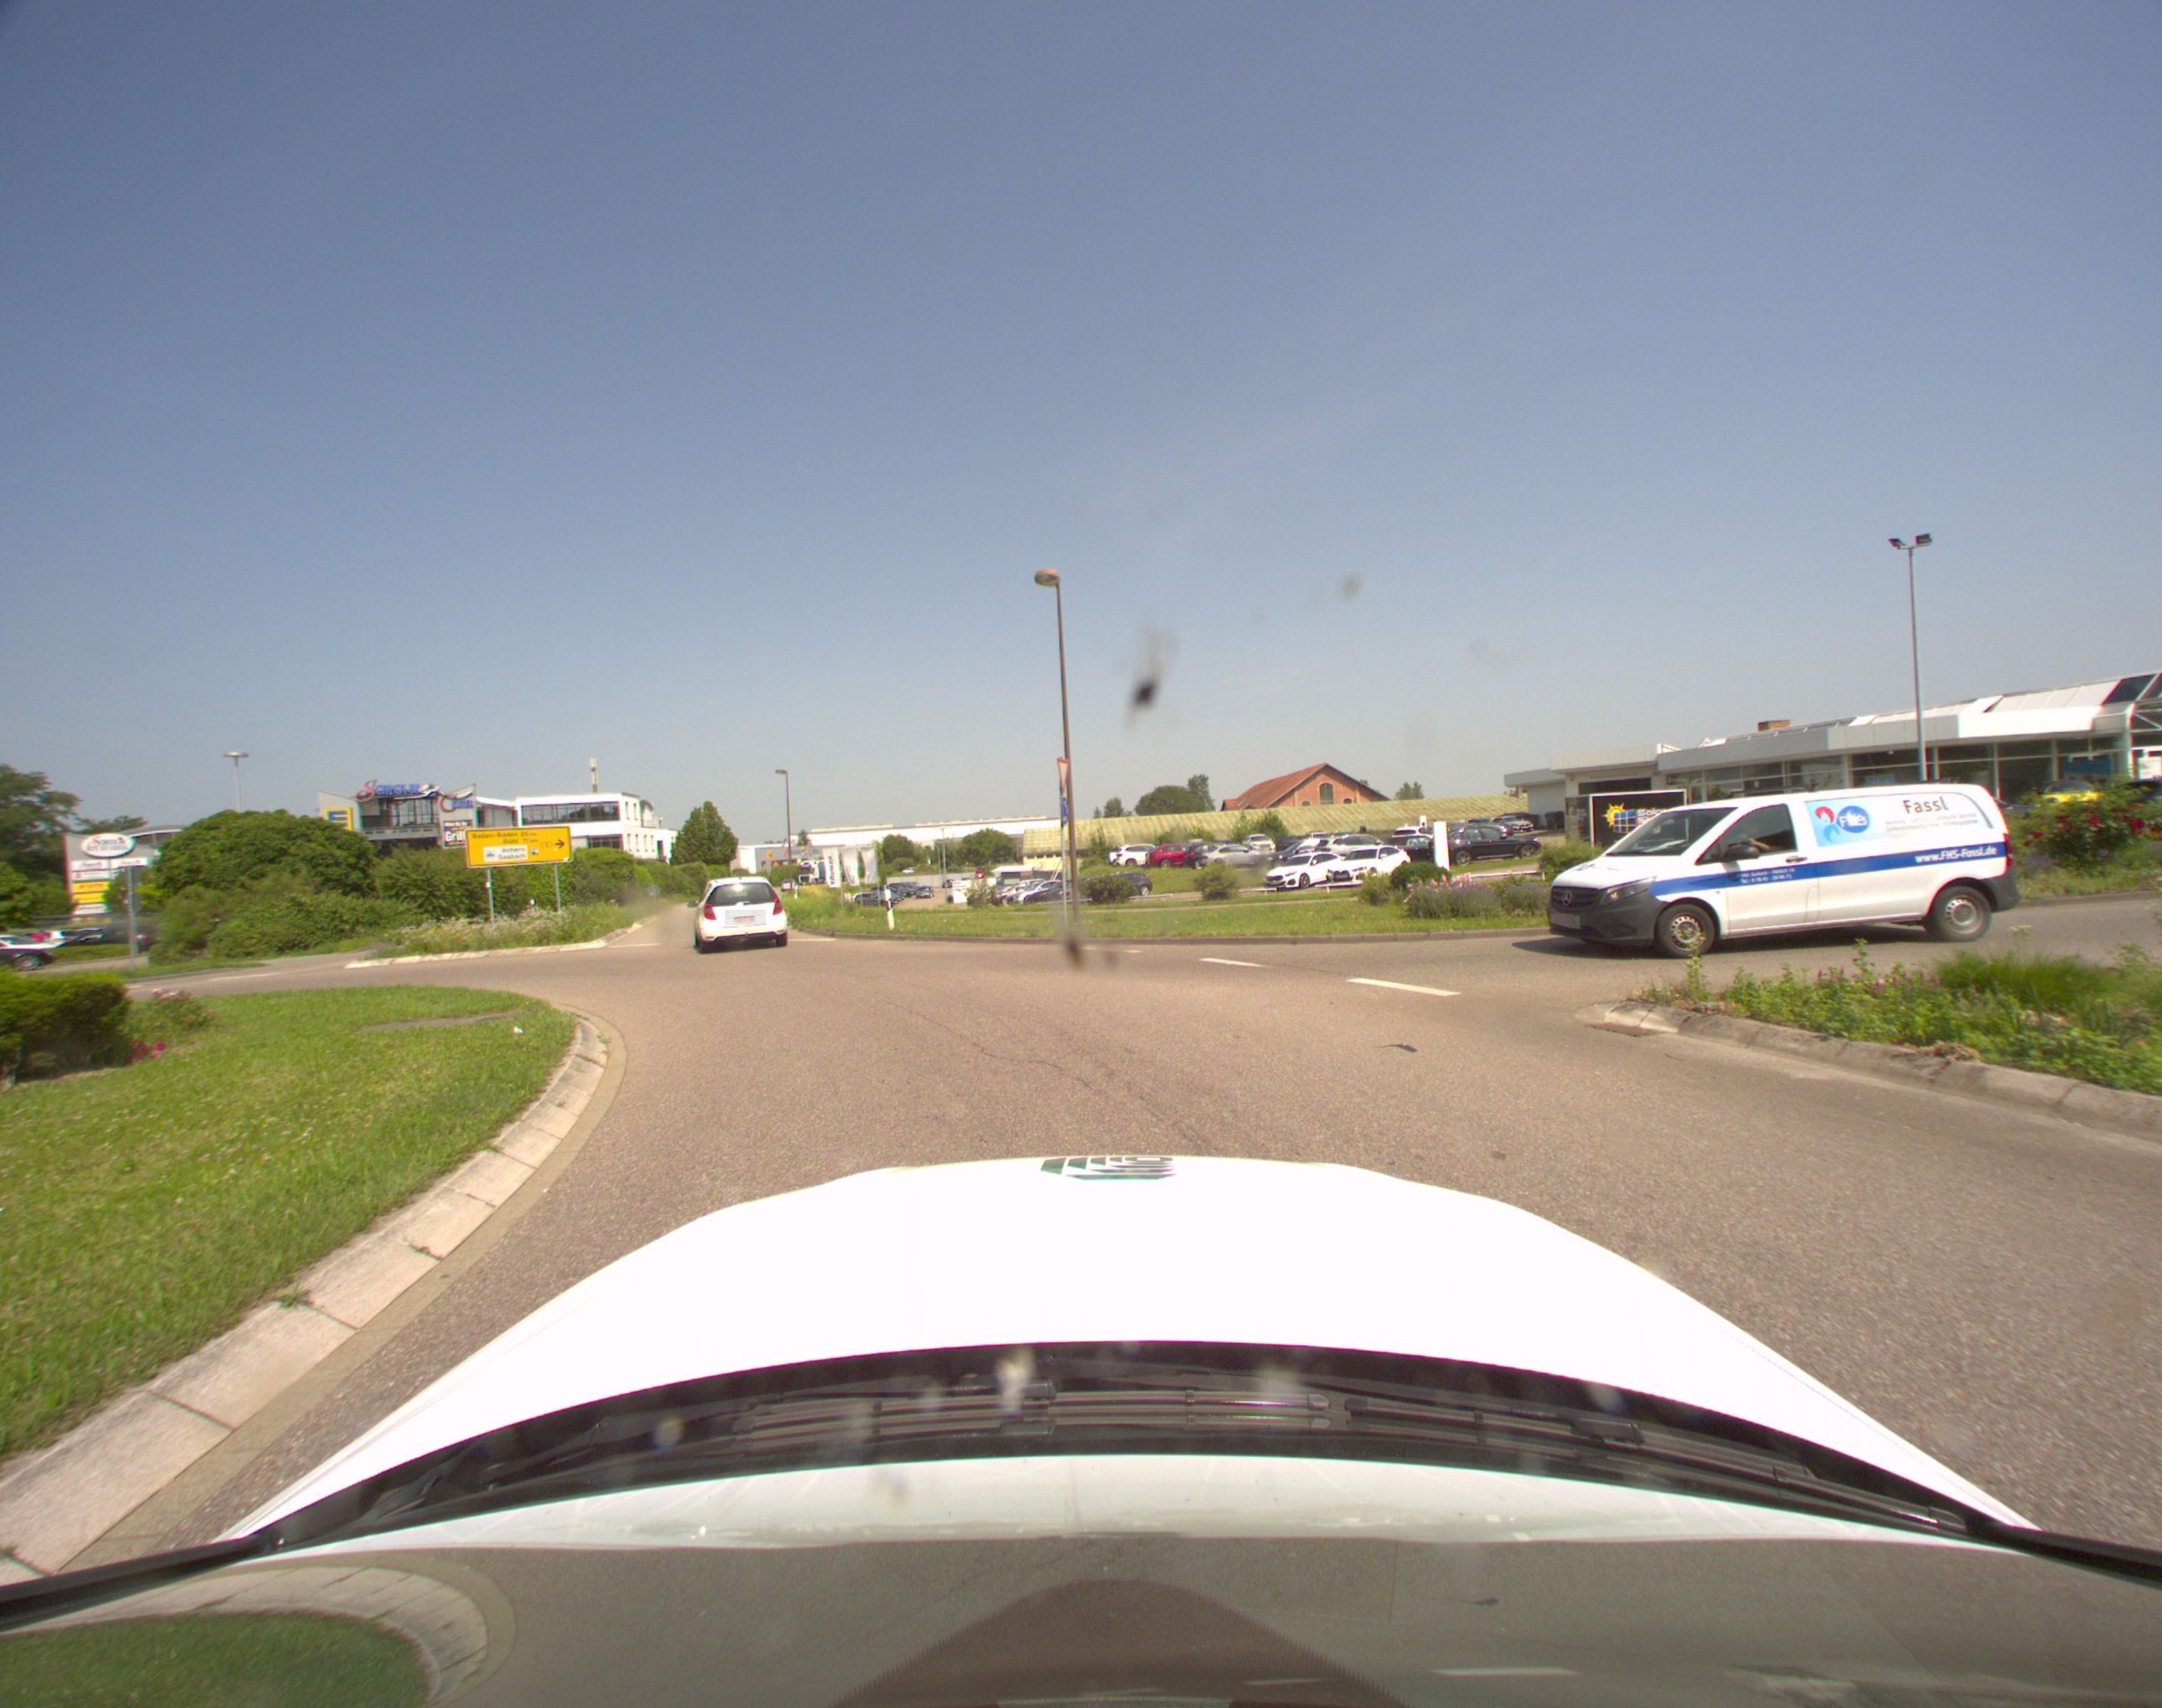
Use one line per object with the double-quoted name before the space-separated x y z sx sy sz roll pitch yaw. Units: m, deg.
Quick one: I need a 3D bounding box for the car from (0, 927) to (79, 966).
"car" -50.381 4.405 38.198 3.979 1.574 1.997 -4 -1 -4

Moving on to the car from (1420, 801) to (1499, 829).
"car" 25.832 -2.662 55.708 4.439 1.522 1.950 -4 0 0

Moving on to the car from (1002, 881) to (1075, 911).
"car" -2.780 2.731 53.236 4.268 1.465 1.859 -5 -2 -24

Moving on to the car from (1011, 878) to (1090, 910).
"car" -1.905 2.511 50.845 4.451 1.465 1.903 -5 -2 -31

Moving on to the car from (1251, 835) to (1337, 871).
"car" 11.121 -0.058 42.699 3.981 1.526 1.950 -4 0 1

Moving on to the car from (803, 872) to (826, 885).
"car" -42.945 3.941 131.407 1.983 2.014 4.007 -3 -1 6

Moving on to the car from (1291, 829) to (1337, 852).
"car" 18.347 -1.065 64.343 2.182 1.596 4.301 -4 0 -2

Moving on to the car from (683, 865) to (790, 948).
"car" -7.975 1.219 18.662 1.792 1.603 3.855 -3 -3 -29

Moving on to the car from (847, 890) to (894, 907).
"car" -21.297 4.484 82.521 4.131 1.523 1.757 -3 -1 11

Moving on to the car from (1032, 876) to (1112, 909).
"car" -0.533 2.315 48.880 4.268 1.412 1.907 -6 -2 -24

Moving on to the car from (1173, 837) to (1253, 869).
"car" 8.085 -0.055 50.184 4.446 1.634 1.947 -4 0 -5

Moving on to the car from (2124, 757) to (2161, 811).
"car" 32.975 -2.147 22.707 4.320 1.512 1.922 -4 0 28

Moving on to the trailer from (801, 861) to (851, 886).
"trailer" -45.067 3.411 144.588 2.656 4.241 14.589 -3 -1 6

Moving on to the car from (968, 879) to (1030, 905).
"car" -6.094 2.840 60.513 4.010 1.552 1.982 -4 -3 -28

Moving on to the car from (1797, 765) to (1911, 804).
"car" 40.124 -3.589 42.351 4.013 1.586 1.910 -4 0 1

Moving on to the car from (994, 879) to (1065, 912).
"car" -3.515 2.788 55.229 4.268 1.748 1.984 -5 -2 -24

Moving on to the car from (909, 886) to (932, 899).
"car" -19.673 4.711 99.945 2.131 1.457 4.525 -3 -1 -4

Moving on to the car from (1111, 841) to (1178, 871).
"car" 4.476 0.156 57.694 4.446 1.747 1.836 -4 0 -5

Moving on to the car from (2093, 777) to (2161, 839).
"car" 29.198 -1.302 20.429 4.320 1.512 1.922 -4 0 28

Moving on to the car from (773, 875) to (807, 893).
"car" -35.567 3.700 99.653 1.980 2.014 4.014 -3 -1 13

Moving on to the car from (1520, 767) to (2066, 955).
"car" 8.722 0.102 10.363 5.194 1.938 1.861 -3 -1 1

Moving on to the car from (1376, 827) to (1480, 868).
"car" 16.205 -0.334 38.158 3.989 1.499 1.947 -5 1 -5

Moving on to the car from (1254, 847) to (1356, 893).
"car" 9.734 0.656 35.243 4.601 1.570 1.748 -5 -1 -38

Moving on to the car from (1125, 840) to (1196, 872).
"car" 5.341 0.133 55.034 4.446 1.747 1.836 -4 0 -5

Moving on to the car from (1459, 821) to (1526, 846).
"car" 25.409 -1.270 50.348 1.663 1.275 3.311 -4 0 -29

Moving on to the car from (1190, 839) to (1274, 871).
"car" 8.820 0.062 47.839 4.446 1.499 1.947 -4 0 -5

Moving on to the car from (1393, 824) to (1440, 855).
"car" 19.852 -0.874 48.084 1.636 1.586 4.296 -4 0 34

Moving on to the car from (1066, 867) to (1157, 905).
"car" 1.672 1.739 44.552 4.590 1.566 1.903 -5 -2 -32

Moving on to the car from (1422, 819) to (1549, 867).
"car" 17.362 -0.451 35.087 4.405 1.499 1.946 -6 -1 -5

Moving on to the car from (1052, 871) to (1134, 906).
"car" 0.716 2.007 46.942 4.278 1.482 1.903 -5 -2 -32

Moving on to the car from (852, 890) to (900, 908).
"car" -19.972 4.360 79.409 4.127 1.523 1.697 -3 -1 15

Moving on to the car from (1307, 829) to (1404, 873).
"car" 13.507 -0.139 40.258 3.989 1.750 1.947 -5 0 -5

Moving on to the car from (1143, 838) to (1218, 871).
"car" 6.423 0.026 52.867 4.446 1.747 1.947 -4 0 -5

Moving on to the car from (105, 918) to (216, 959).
"car" -43.618 3.972 38.642 3.306 1.574 1.554 -4 -1 -4

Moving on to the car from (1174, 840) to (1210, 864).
"car" 8.416 -0.136 61.898 1.912 1.596 4.301 -4 0 -2

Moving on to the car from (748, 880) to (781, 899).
"car" -27.105 2.997 69.799 1.829 1.470 4.393 -2 -1 -11

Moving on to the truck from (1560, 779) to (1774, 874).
"truck" 19.444 -0.906 27.219 5.588 2.664 1.950 -4 0 1

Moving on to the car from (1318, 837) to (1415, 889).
"car" 11.755 0.338 33.374 4.694 1.570 1.746 -7 2 -44

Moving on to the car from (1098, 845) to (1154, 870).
"car" 3.301 0.255 59.953 3.868 1.532 1.765 -4 0 -5

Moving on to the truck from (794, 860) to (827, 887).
"truck" -45.770 3.322 137.958 2.500 4.257 6.125 -4 -1 7

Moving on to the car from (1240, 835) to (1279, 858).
"car" 13.913 -0.566 63.718 1.912 1.596 4.301 -4 0 -2

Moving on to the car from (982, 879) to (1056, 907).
"car" -4.443 2.799 58.330 4.789 1.508 1.984 -5 -2 -24
